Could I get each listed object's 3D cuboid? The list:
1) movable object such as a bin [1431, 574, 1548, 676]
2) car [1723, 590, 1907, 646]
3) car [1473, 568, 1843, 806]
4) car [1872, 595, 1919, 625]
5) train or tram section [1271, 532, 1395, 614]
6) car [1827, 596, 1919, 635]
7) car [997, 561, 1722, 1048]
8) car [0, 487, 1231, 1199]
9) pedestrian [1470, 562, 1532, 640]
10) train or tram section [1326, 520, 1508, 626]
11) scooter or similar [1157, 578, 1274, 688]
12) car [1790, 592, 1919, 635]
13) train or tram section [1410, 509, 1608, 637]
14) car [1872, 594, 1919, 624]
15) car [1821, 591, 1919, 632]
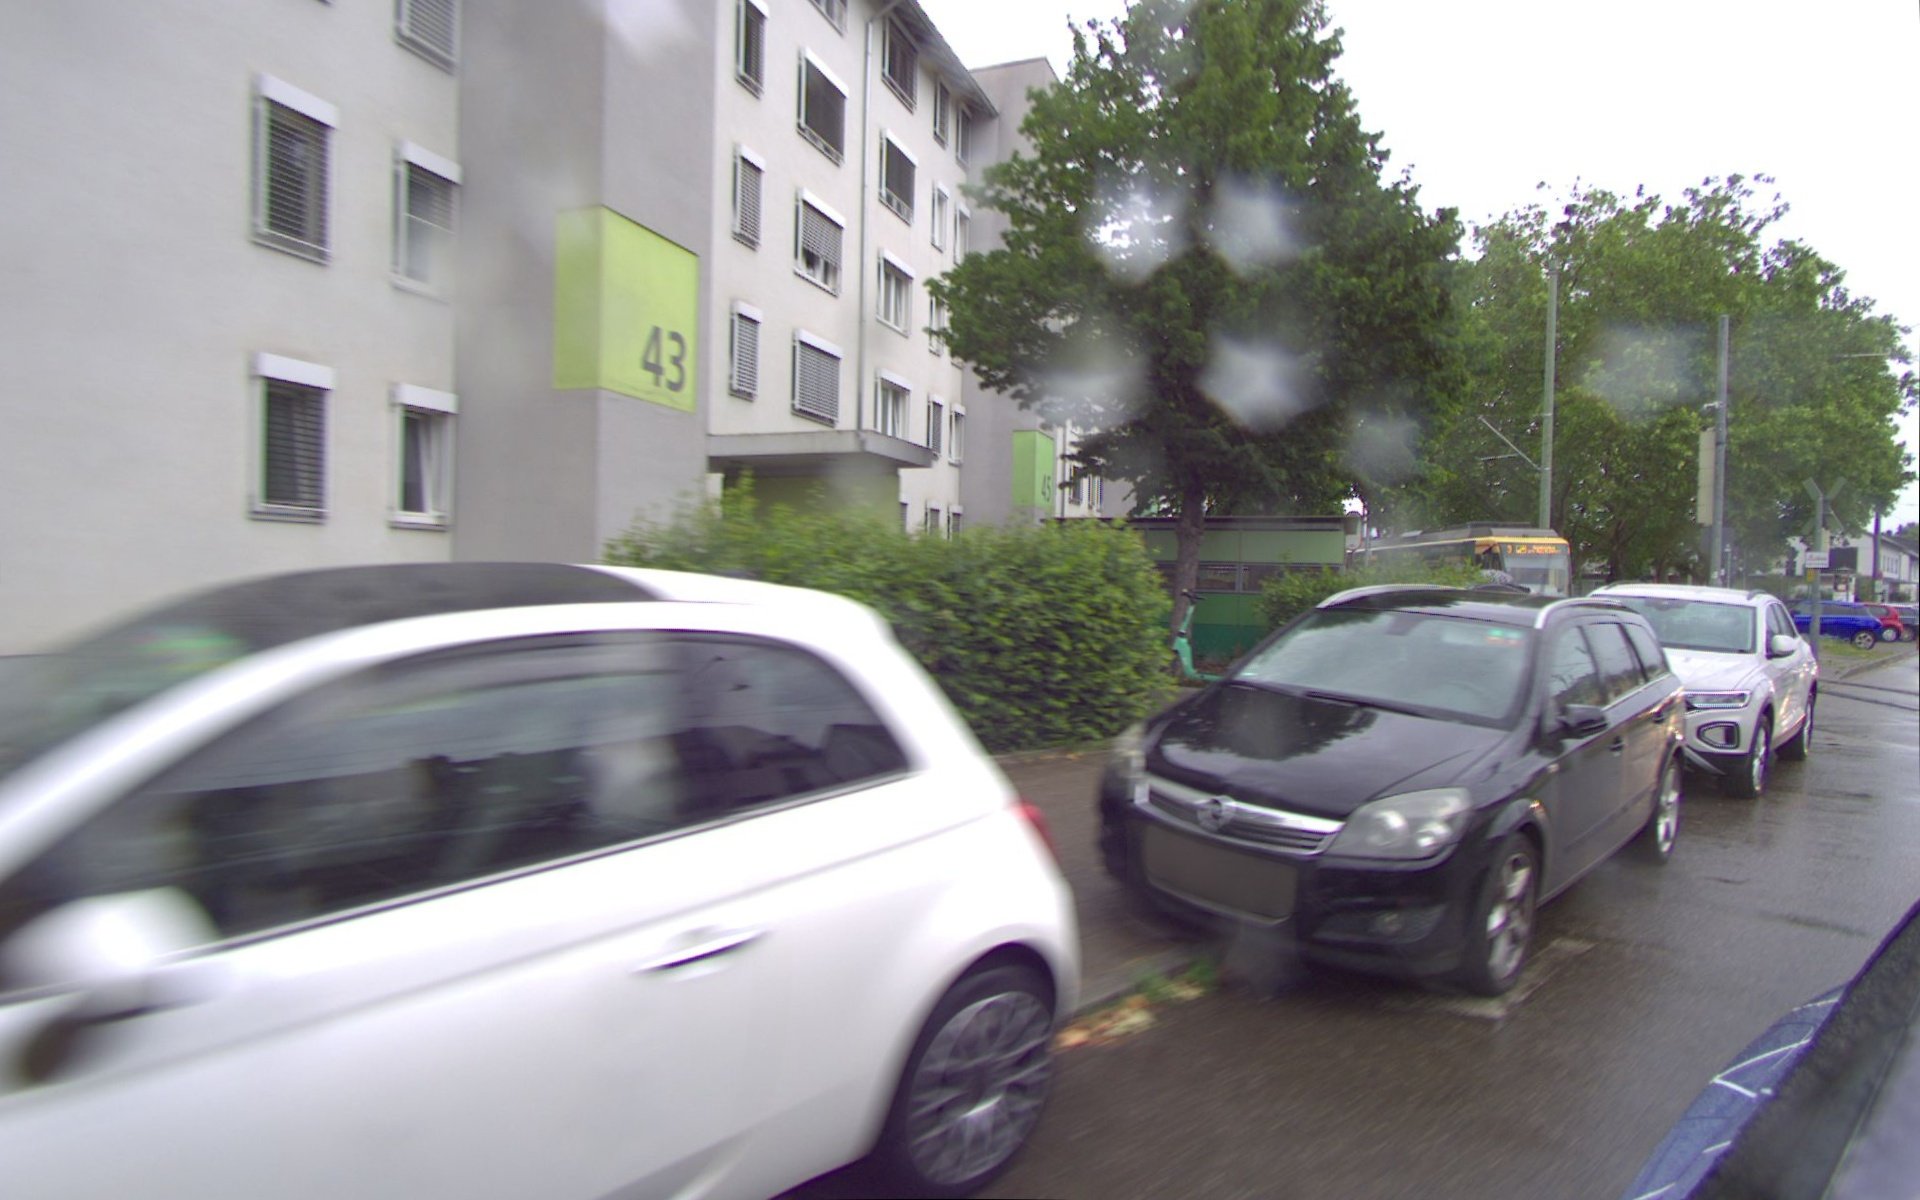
[{"bbox_3d":[8.122,0.344,15.621,1.134,1.458,1.473,2,2,9],"label":"movable object such as a bin"},{"bbox_3d":[26.606,0.522,31.637,3.944,1.546,1.711,2,2,16],"label":"car"},{"bbox_3d":[6.357,0.579,9.039,4.043,1.594,1.902,0,2,-44],"label":"car"},{"bbox_3d":[49.822,0.553,52.221,3.665,1.433,1.607,2,2,23],"label":"car"},{"bbox_3d":[17.485,-1.308,48.291,2.708,3.381,10.342,2,2,4],"label":"train or tram section"},{"bbox_3d":[40.407,0.675,44.050,3.665,1.502,1.607,2,2,23],"label":"car"},{"bbox_3d":[2.316,0.603,5.222,4.114,1.467,1.902,0,2,-44],"label":"car"},{"bbox_3d":[-1.145,0.596,2.353,3.933,1.537,1.560,0,2,-43],"label":"car"},{"bbox_3d":[12.990,0.006,24.323,0.848,1.796,1.019,2,1,-1],"label":"pedestrian"},{"bbox_3d":[16.730,-1.031,38.099,2.708,3.381,10.343,2,2,4],"label":"train or tram section"},{"bbox_3d":[3.126,0.391,12.453,1.303,1.277,0.474,2,1,6],"label":"scooter or similar"},{"bbox_3d":[35.073,0.513,39.672,3.536,1.477,1.608,2,2,22],"label":"car"},{"bbox_3d":[16.219,-0.834,30.505,2.708,3.381,6.396,2,2,4],"label":"train or tram section"},{"bbox_3d":[51.859,0.503,54.483,3.665,1.541,1.607,2,2,23],"label":"car"},{"bbox_3d":[38.064,0.467,41.613,3.665,1.502,1.607,2,2,23],"label":"car"}]
